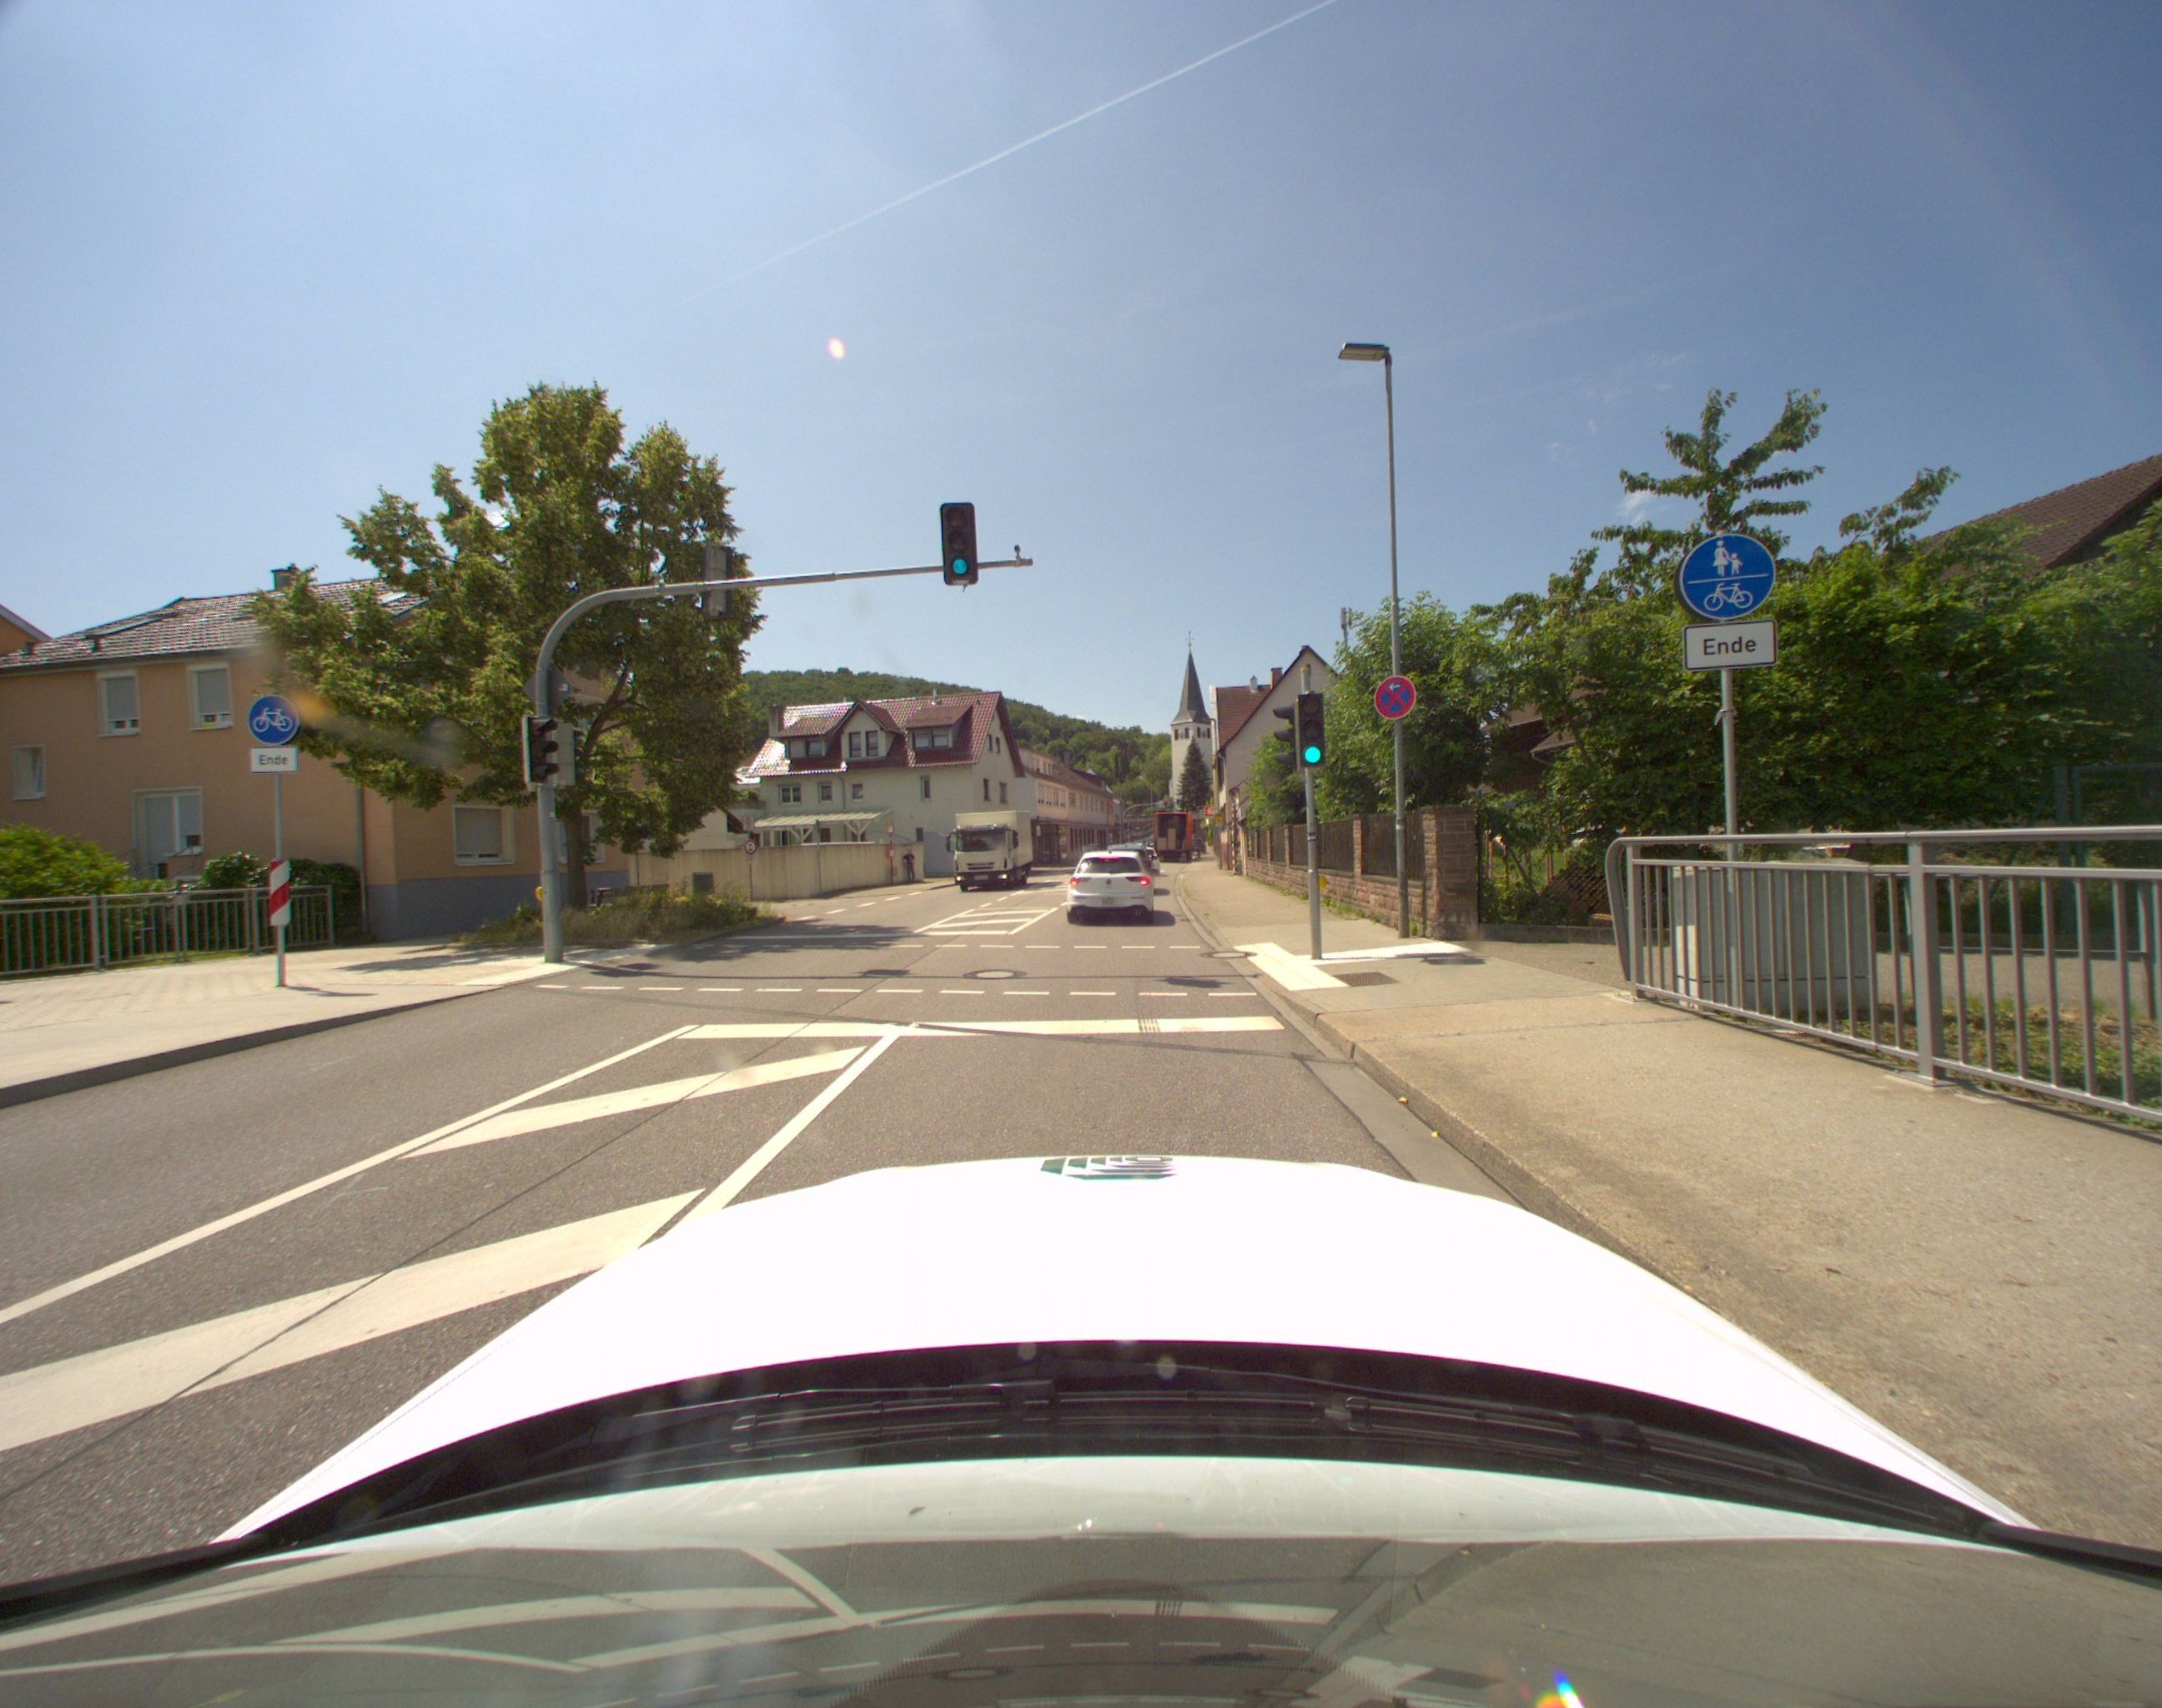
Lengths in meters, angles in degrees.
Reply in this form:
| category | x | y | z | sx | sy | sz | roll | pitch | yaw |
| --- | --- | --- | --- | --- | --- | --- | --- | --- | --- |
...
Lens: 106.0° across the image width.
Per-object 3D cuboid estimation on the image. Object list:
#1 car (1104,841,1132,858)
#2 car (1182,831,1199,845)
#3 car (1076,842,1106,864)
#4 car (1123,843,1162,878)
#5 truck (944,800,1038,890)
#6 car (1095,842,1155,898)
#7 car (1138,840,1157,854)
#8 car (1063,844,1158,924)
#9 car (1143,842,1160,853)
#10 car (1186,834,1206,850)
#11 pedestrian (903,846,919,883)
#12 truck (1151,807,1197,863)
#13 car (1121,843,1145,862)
| category | x | y | z | sx | sy | sz | roll | pitch | yaw |
| --- | --- | --- | --- | --- | --- | --- | --- | --- | --- |
| car | 3.611 | -0.449 | 78.355 | 1.850 | 1.442 | 4.233 | -3 | 0 | 13 |
| car | 13.436 | -1.955 | 100.430 | 1.806 | 1.519 | 4.006 | -3 | 0 | 5 |
| car | 0.779 | -0.115 | 63.633 | 1.728 | 1.651 | 3.679 | -2 | 1 | 10 |
| car | 3.208 | 0.331 | 42.127 | 1.806 | 1.628 | 4.006 | -3 | 0 | 5 |
| truck | -3.520 | -0.338 | 33.329 | 2.490 | 3.235 | 6.048 | -3 | 0 | 5 |
| car | 1.547 | 0.491 | 27.357 | 1.806 | 1.628 | 4.006 | -3 | 0 | 5 |
| car | 7.970 | -0.810 | 97.199 | 1.785 | 1.508 | 4.144 | -3 | 0 | 9 |
| car | 0.748 | 0.586 | 17.728 | 1.806 | 1.519 | 4.006 | -1 | 0 | 5 |
| car | 9.614 | -0.888 | 111.046 | 1.851 | 1.442 | 4.230 | -3 | 0 | 11 |
| car | 11.752 | -1.184 | 83.298 | 1.806 | 1.519 | 4.006 | -3 | 0 | 5 |
| pedestrian | -8.249 | 0.489 | 39.586 | 0.430 | 1.764 | 0.560 | -2 | 0 | 24 |
| truck | 7.850 | -1.522 | 68.405 | 3.349 | 4.170 | 9.539 | -3 | 0 | 7 |
| car | 4.362 | -0.128 | 68.352 | 1.806 | 1.519 | 4.006 | -3 | 0 | 5 |
